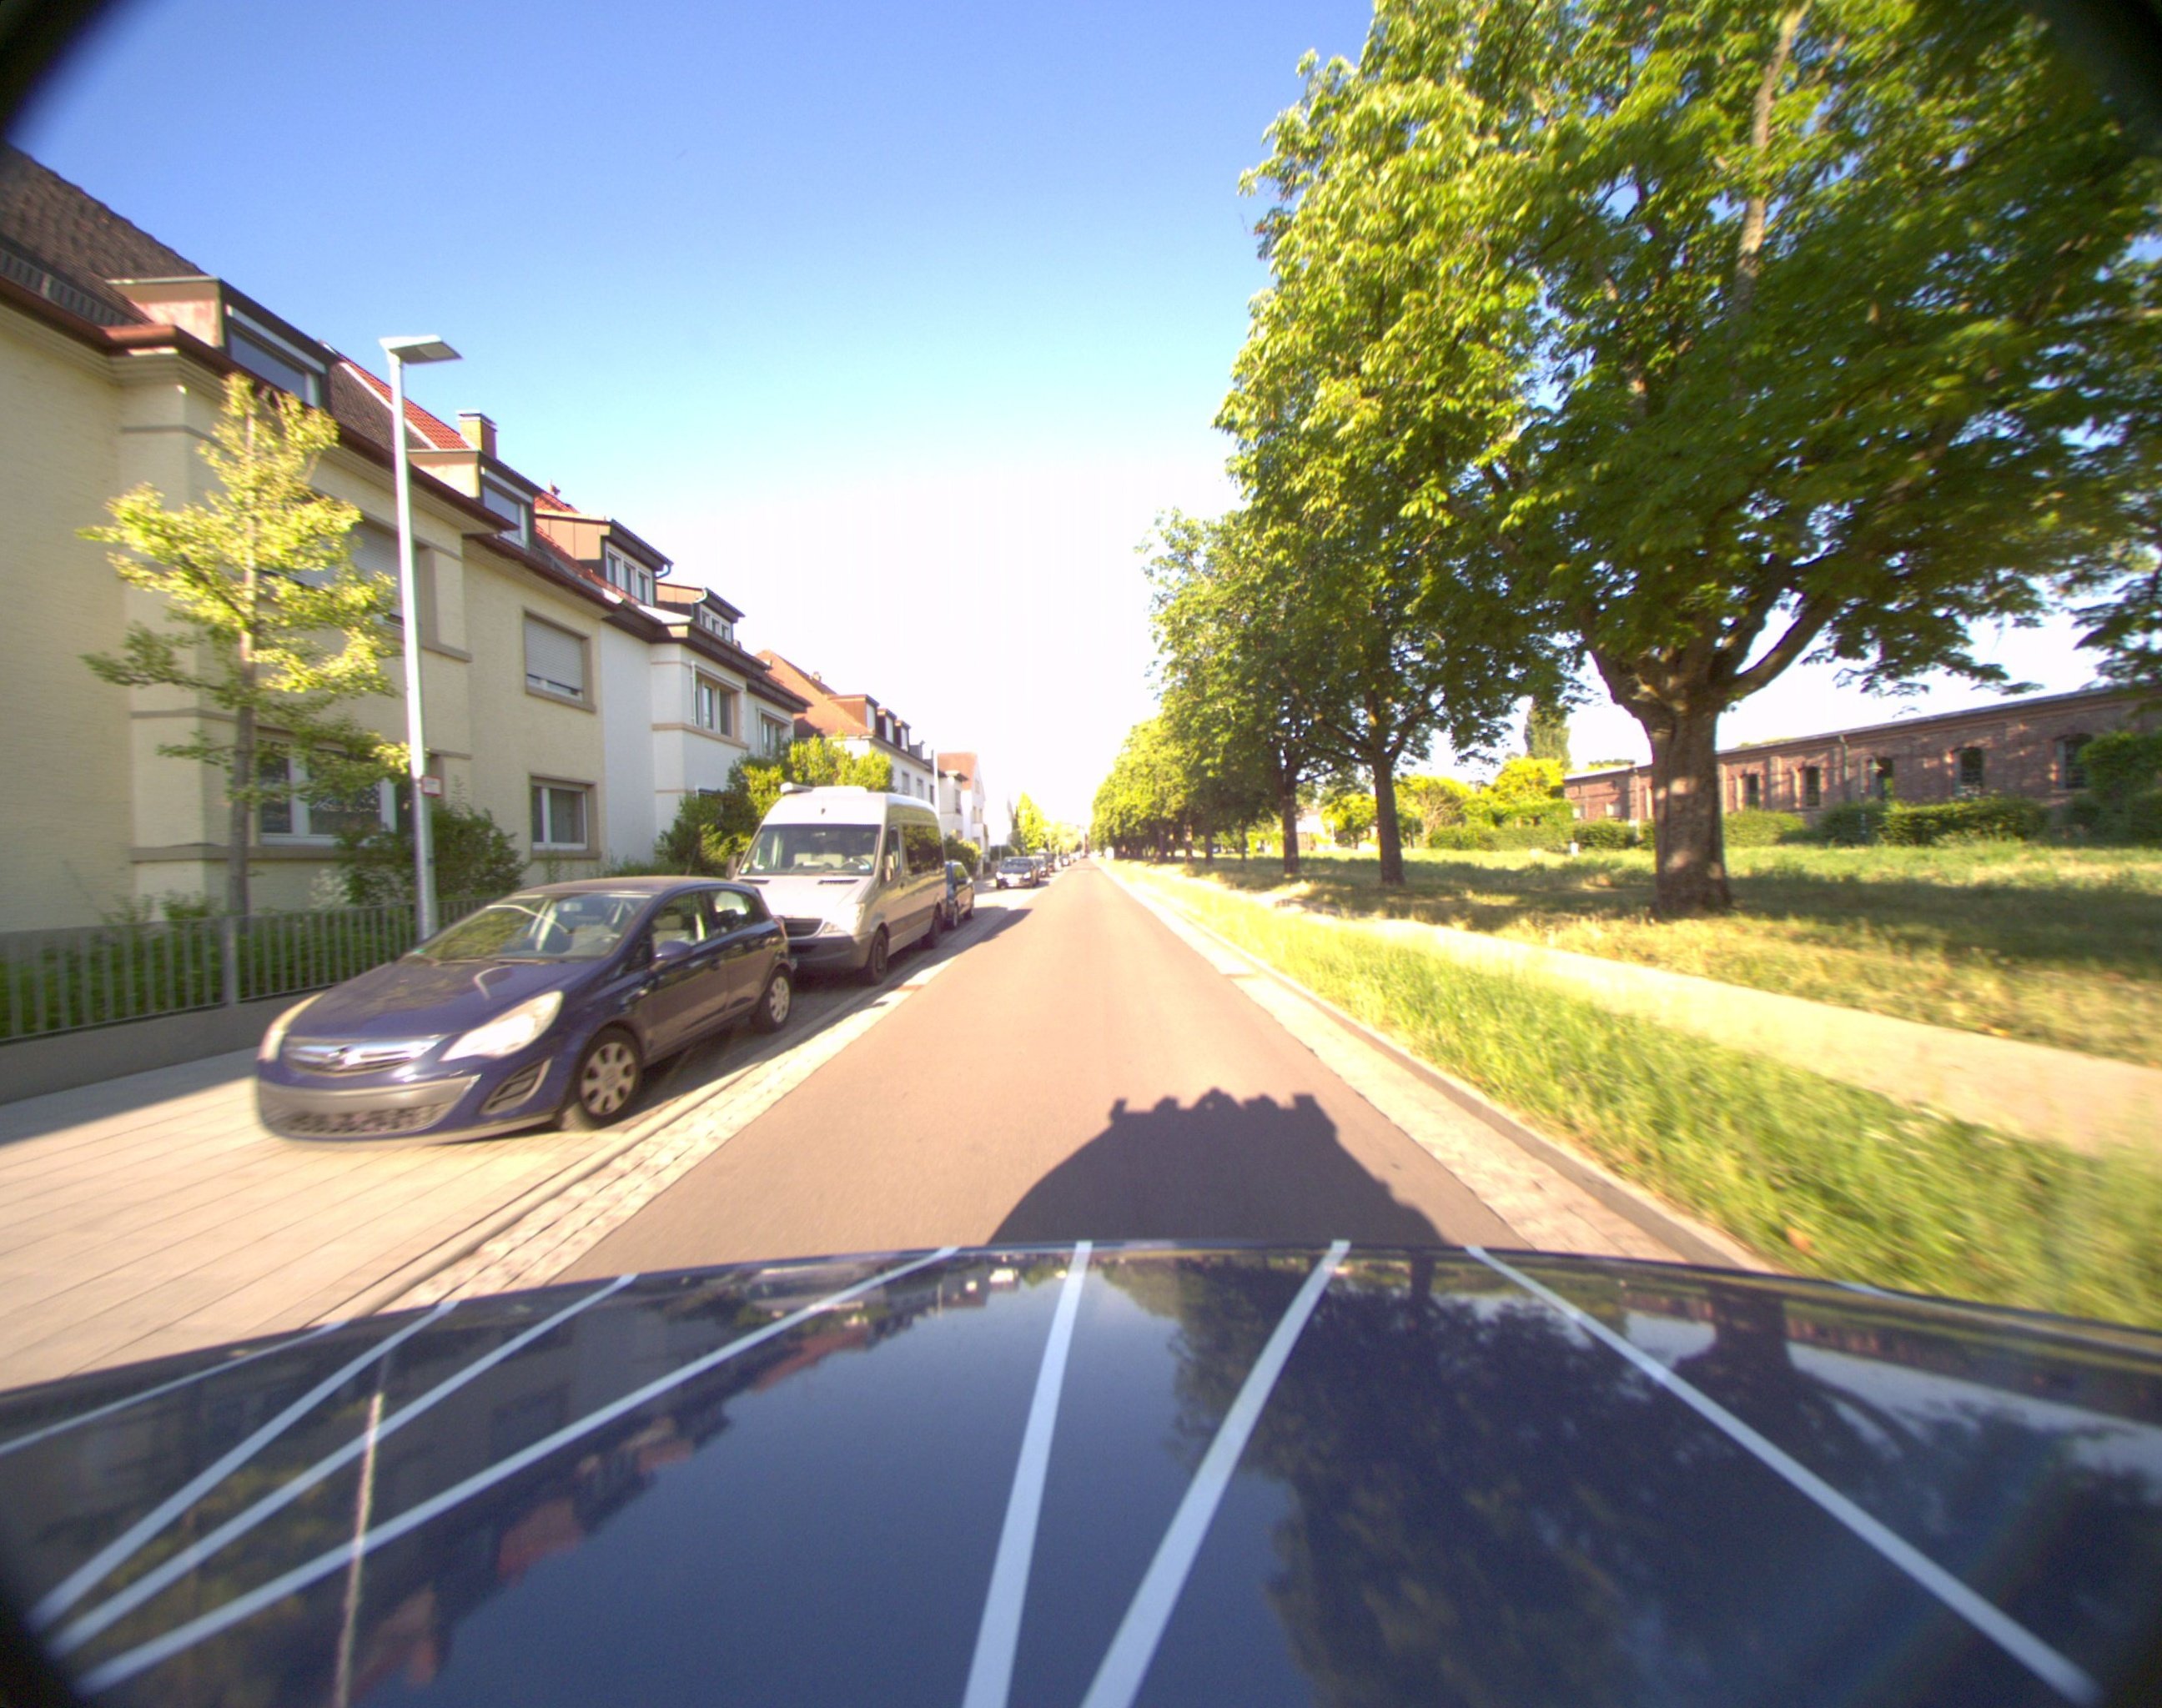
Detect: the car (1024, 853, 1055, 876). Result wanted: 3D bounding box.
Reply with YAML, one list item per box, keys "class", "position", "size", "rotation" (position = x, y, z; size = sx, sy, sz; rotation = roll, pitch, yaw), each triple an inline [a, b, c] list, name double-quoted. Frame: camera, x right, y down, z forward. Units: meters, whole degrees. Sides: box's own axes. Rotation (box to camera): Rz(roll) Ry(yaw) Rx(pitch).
- class: "car"
  position: [-3.028, 0.726, 55.963]
  size: [1.974, 1.630, 4.000]
  rotation: [0, 0, 1]

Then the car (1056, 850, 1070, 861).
- class: "car"
  position: [-2.718, 0.186, 116.747]
  size: [1.974, 1.630, 4.000]
  rotation: [0, 0, 1]

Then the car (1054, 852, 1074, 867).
- class: "car"
  position: [-1.872, 0.587, 84.405]
  size: [1.974, 1.630, 4.000]
  rotation: [0, 0, 1]

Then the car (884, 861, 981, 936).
- class: "car"
  position: [-3.377, 0.971, 17.800]
  size: [1.467, 1.490, 3.357]
  rotation: [-2, 0, 2]

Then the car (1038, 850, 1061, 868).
- class: "car"
  position: [-3.006, 0.446, 72.420]
  size: [1.974, 1.630, 4.000]
  rotation: [0, 0, 1]

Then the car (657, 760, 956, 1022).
- class: "car"
  position: [-3.574, 0.402, 11.526]
  size: [2.134, 2.837, 5.986]
  rotation: [-3, 0, 1]

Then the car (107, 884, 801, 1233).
- class: "car"
  position: [-3.650, 1.024, 5.523]
  size: [1.629, 1.431, 4.004]
  rotation: [0, 0, 2]

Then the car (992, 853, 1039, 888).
- class: "car"
  position: [-3.240, 0.792, 38.421]
  size: [1.974, 1.630, 4.000]
  rotation: [0, 0, 1]

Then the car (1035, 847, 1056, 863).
- class: "car"
  position: [-3.610, 0.062, 78.347]
  size: [1.974, 1.630, 4.000]
  rotation: [0, 0, 1]

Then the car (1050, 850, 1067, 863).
- class: "car"
  position: [-2.896, 0.292, 99.537]
  size: [1.974, 1.630, 4.000]
  rotation: [0, 0, 1]
